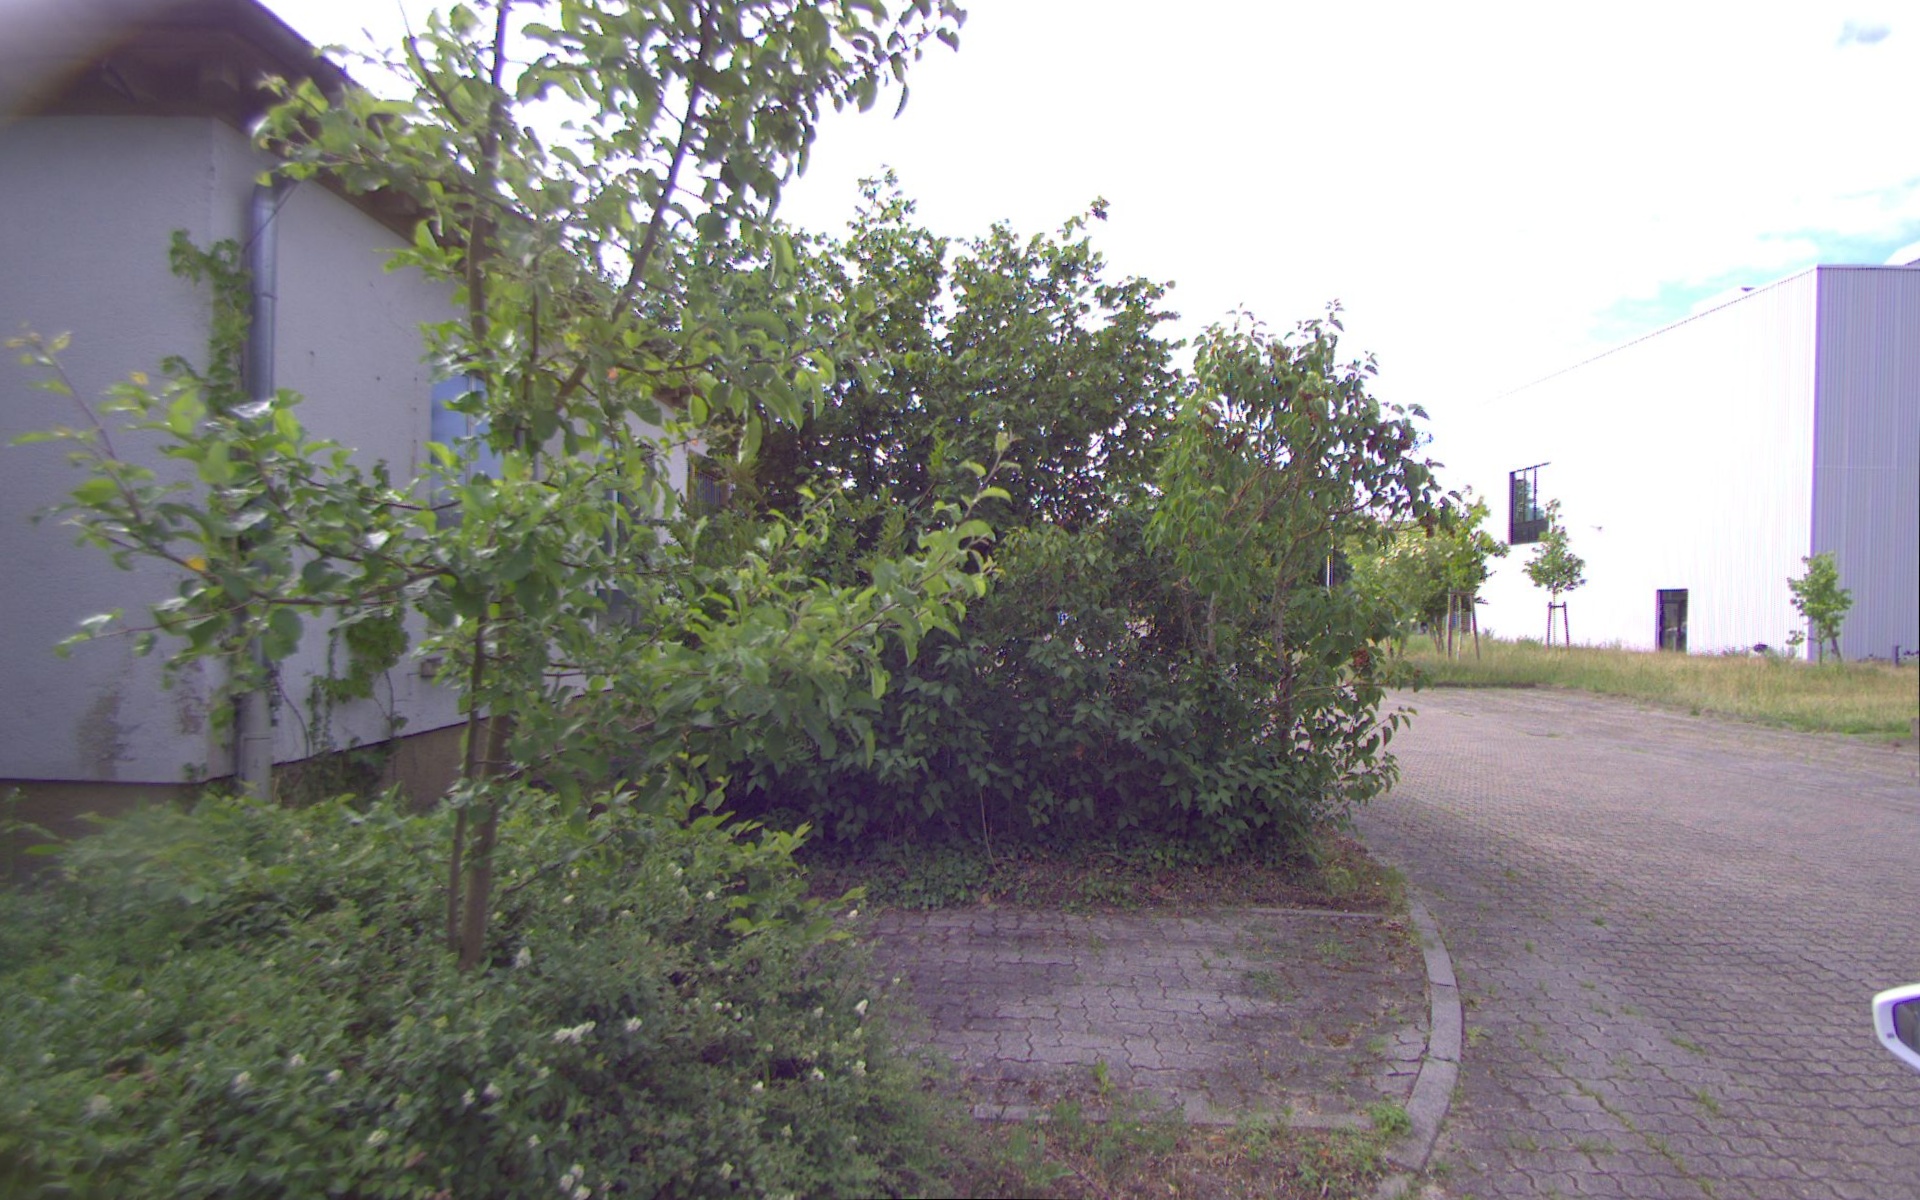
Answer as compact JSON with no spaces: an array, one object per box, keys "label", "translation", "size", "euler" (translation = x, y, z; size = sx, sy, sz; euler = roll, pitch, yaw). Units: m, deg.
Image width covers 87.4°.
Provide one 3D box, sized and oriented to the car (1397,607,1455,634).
[{"label":"car","translation":[37.299,1.615,80.515],"size":[2.204,2.040,5.337],"euler":[1,0,0]}]
